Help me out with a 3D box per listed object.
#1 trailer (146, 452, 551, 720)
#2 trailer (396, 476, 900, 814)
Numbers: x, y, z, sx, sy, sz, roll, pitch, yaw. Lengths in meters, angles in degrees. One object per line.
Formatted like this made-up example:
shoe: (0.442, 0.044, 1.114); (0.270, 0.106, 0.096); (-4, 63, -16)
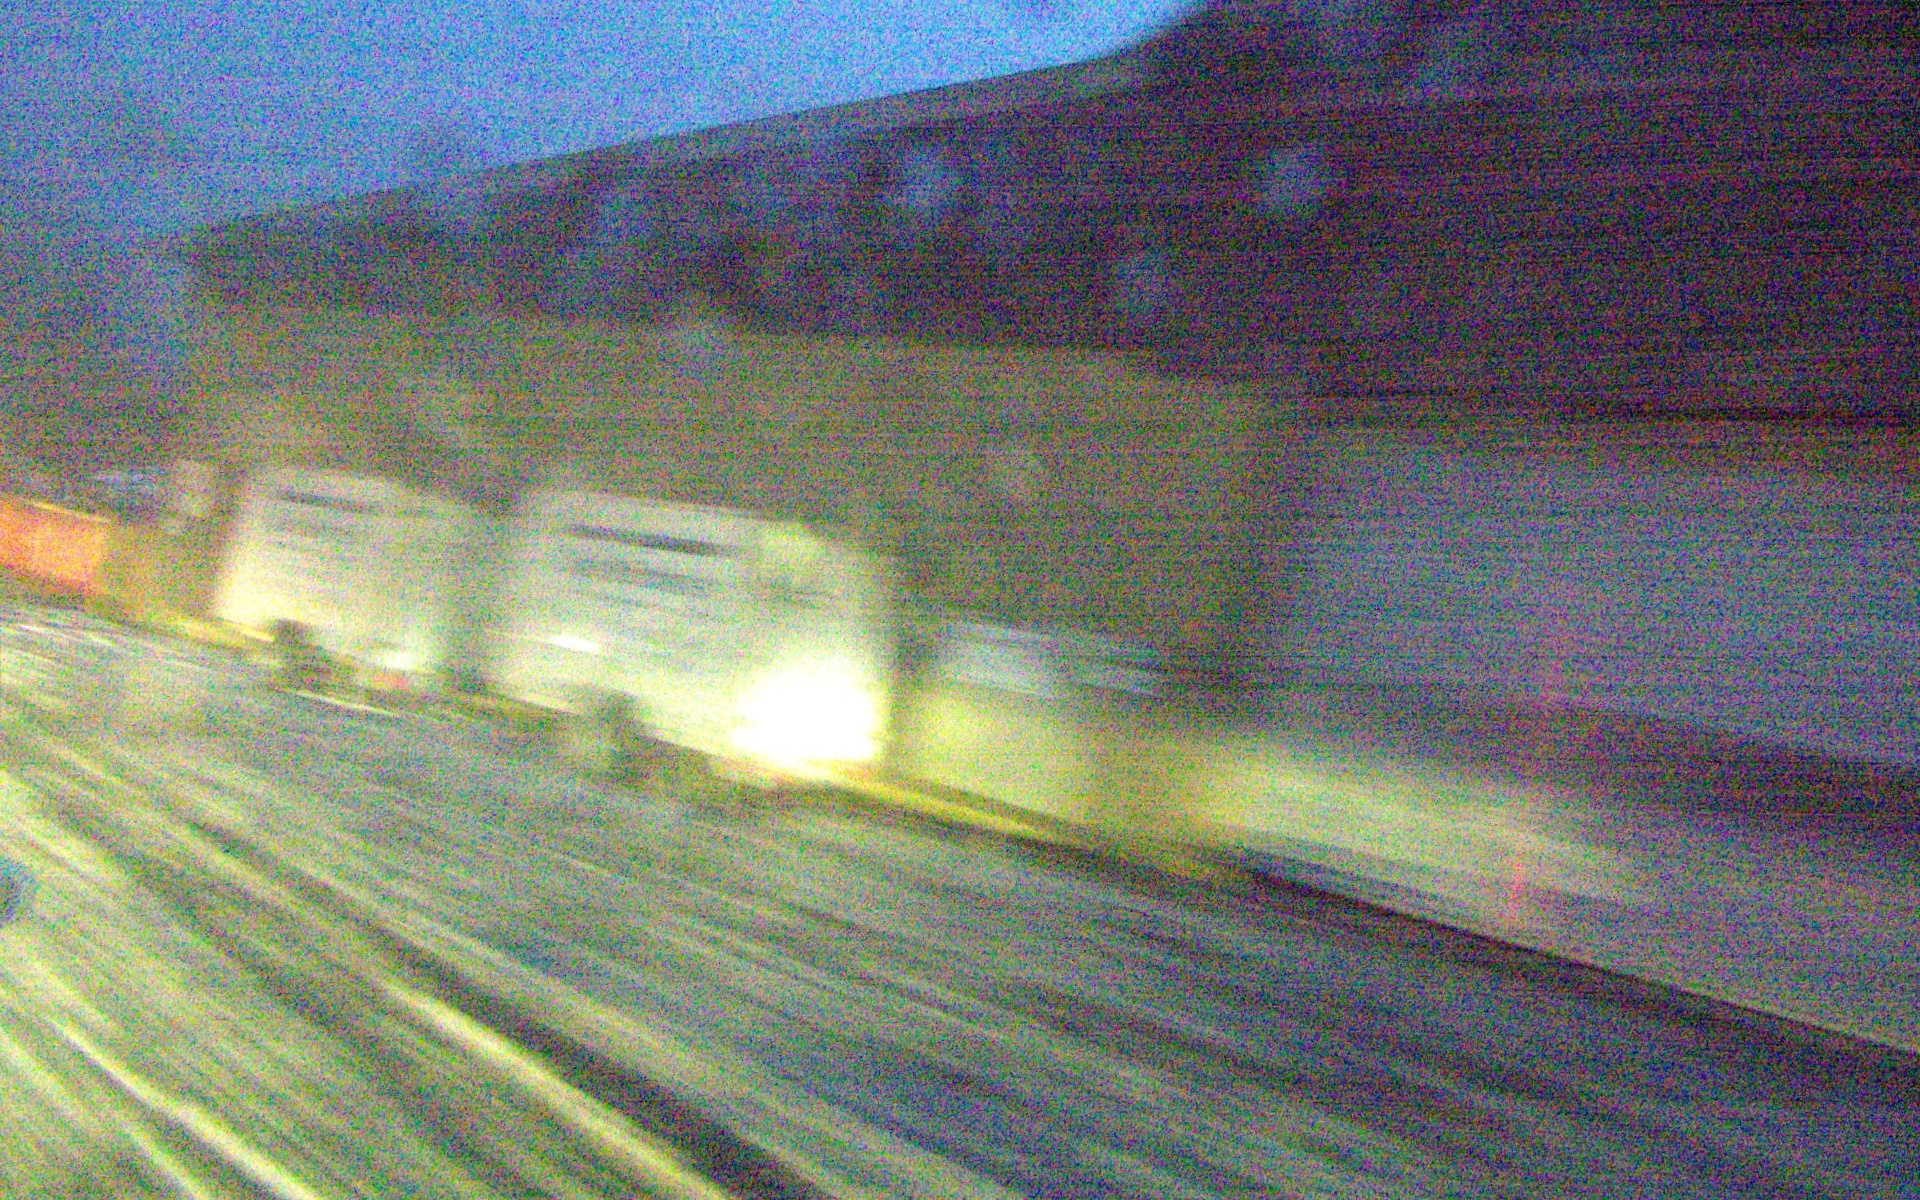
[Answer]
trailer: (-7.124, -0.225, 11.608); (4.573, 2.388, 1.637); (7, -5, 29)
trailer: (-2.987, 0.325, 9.386); (4.355, 2.375, 1.612); (7, -5, 29)
